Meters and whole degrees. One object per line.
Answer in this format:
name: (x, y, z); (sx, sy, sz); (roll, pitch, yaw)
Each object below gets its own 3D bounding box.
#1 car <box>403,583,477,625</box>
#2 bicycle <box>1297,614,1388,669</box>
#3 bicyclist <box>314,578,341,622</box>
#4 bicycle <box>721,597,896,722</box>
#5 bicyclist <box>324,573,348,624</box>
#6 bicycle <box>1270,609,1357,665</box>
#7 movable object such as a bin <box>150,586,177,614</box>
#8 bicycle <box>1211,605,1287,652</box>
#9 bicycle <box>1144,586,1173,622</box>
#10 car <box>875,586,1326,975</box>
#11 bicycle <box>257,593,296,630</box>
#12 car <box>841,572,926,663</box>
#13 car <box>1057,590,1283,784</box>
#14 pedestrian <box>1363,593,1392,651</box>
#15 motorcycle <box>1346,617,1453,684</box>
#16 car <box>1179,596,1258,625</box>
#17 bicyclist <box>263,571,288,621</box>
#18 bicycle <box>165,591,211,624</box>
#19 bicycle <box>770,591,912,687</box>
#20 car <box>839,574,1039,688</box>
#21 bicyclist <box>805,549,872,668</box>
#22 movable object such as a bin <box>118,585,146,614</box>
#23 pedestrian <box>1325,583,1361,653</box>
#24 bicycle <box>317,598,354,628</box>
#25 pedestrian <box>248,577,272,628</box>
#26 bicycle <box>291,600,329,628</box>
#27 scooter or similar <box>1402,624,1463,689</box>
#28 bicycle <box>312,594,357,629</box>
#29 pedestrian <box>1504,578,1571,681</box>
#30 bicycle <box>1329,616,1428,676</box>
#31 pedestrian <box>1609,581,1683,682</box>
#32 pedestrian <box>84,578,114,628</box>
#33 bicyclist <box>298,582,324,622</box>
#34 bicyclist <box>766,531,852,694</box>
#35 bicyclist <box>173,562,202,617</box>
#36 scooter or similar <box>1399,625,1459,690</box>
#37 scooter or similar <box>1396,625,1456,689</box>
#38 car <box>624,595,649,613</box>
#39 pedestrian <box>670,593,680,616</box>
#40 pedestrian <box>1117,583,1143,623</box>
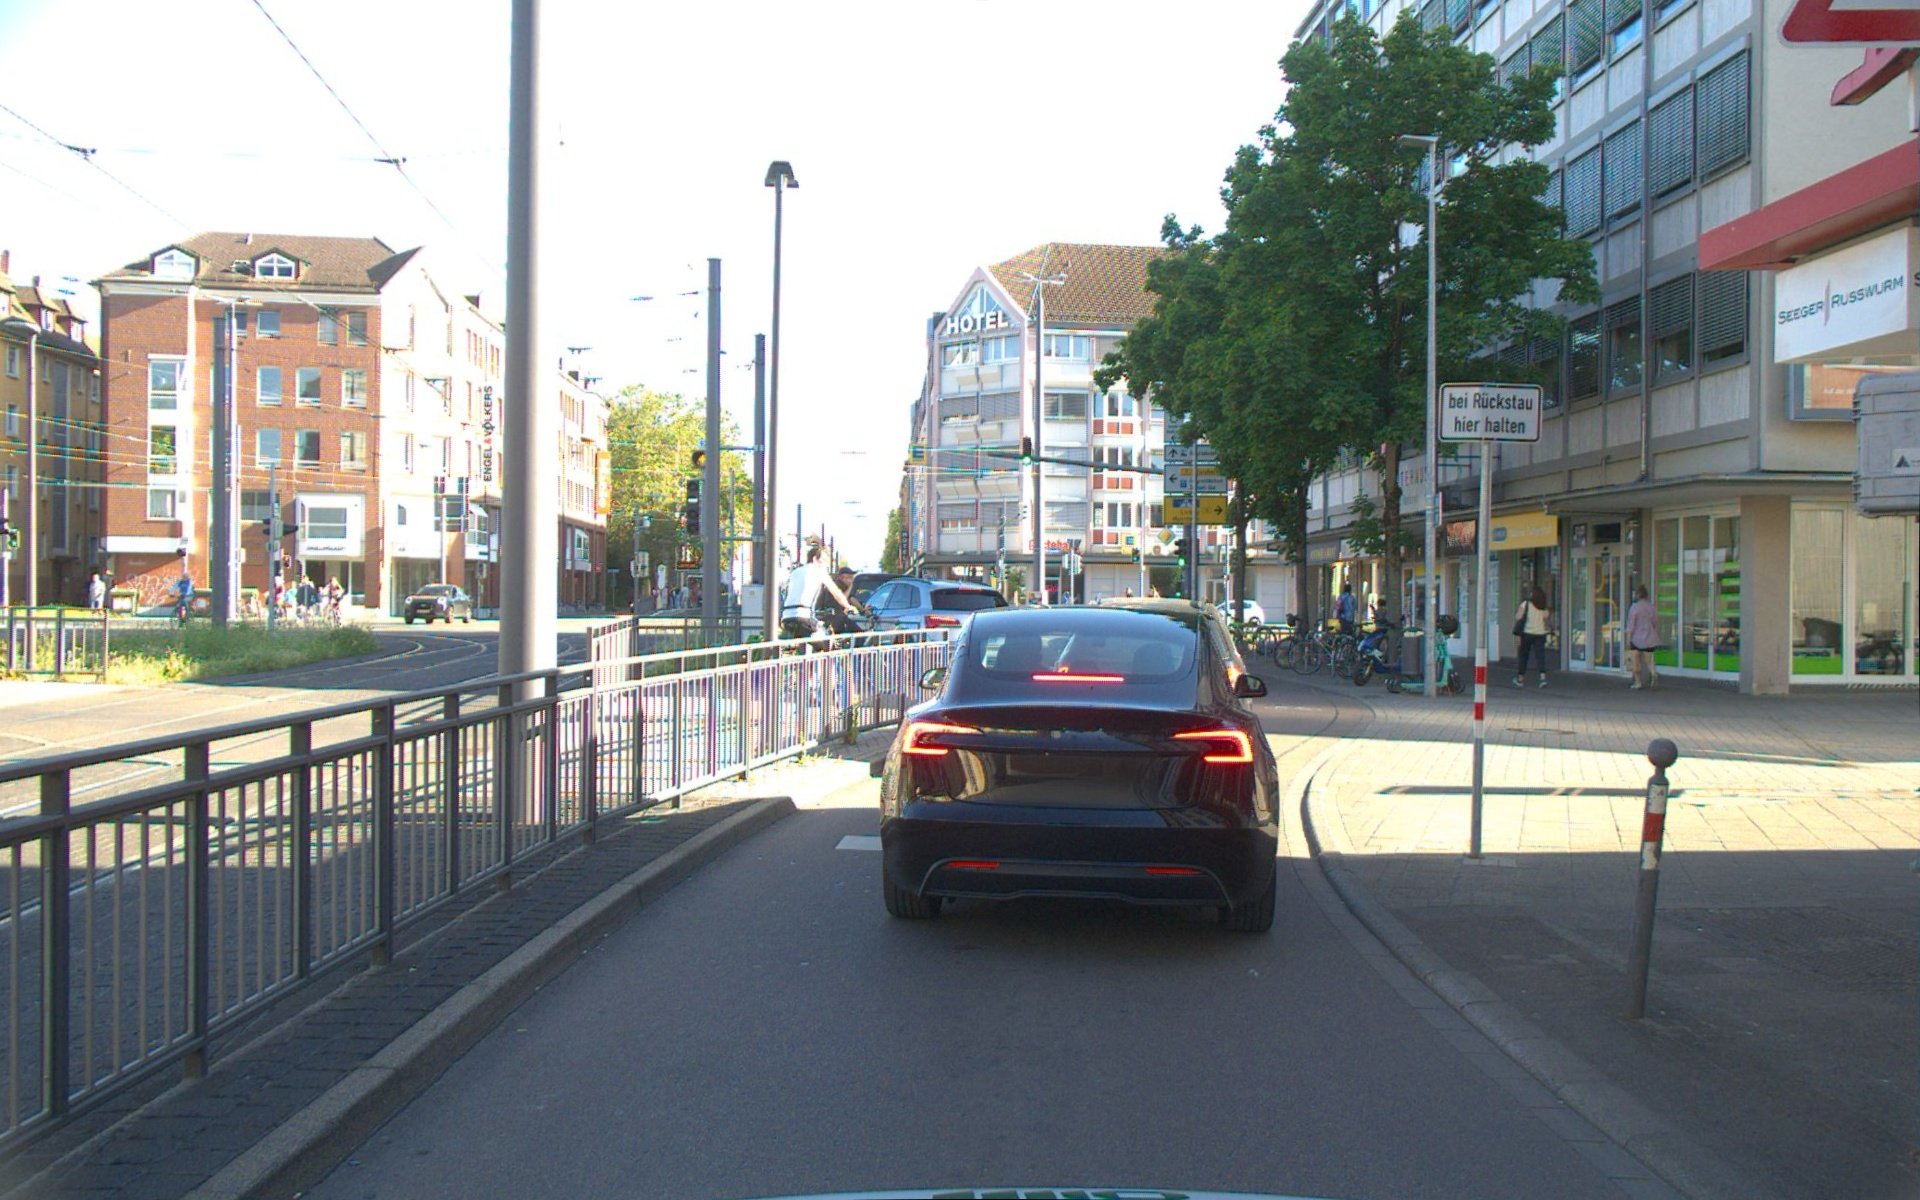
car: (-20.521, 0.150, 65.460); (1.650, 1.588, 4.121); (1, 0, -1)
bicycle: (7.732, 0.828, 33.435); (1.730, 1.075, 0.458); (1, -1, 4)
bicyclist: (-24.342, 0.016, 63.692); (0.576, 1.678, 0.807); (1, -1, 16)
bicycle: (-1.569, 0.607, 17.290); (1.808, 1.233, 0.574); (1, -1, -40)
bicyclist: (-21.453, -0.051, 56.870); (0.514, 1.702, 0.770); (1, -1, 1)
bicycle: (7.562, 0.789, 35.412); (1.774, 1.172, 0.435); (0, 0, -5)
movable object such as a bin: (-41.508, -0.003, 86.184); (0.978, 1.462, 1.093); (1, 0, -10)
bicycle: (7.438, 0.732, 42.527); (1.851, 1.177, 0.480); (-1, -1, 0)
bicycle: (8.182, 0.150, 68.183); (0.573, 1.489, 1.679); (0, 0, -16)
car: (0.687, 0.692, 8.503); (1.753, 1.476, 3.942); (1, 1, 4)
bicycle: (-23.422, 0.406, 56.696); (0.519, 1.235, 1.885); (1, 0, 1)
car: (-1.494, 0.328, 32.286); (1.541, 1.646, 3.781); (1, 0, -3)
car: (1.790, 0.661, 15.159); (1.727, 1.469, 4.531); (1, 0, 4)
pedestrian: (10.635, 0.554, 42.143); (0.631, 1.447, 0.621); (1, -1, 9)
motorcycle: (7.782, 0.886, 29.320); (1.751, 1.149, 0.504); (1, -1, -3)
car: (13.499, 0.566, 86.619); (3.766, 1.457, 1.801); (1, -2, -6)
bicyclist: (-23.417, -0.136, 56.566); (0.510, 1.702, 0.770); (1, -1, 0)
bicycle: (-24.267, 0.239, 52.009); (0.519, 1.031, 1.885); (1, 0, 1)
bicycle: (-1.583, 0.520, 22.161); (1.802, 1.233, 0.635); (1, -1, -32)
car: (-0.396, 0.458, 26.195); (1.818, 1.663, 3.455); (1, 0, -27)
bicyclist: (-1.628, 0.116, 22.135); (0.674, 1.550, 0.628); (1, -1, -32)
movable object such as a bin: (-42.999, -0.022, 85.866); (0.978, 1.462, 1.093); (1, 0, -10)
pedestrian: (9.761, 0.449, 42.151); (0.825, 1.751, 0.881); (1, -1, 10)
bicycle: (-21.460, 0.441, 56.864); (0.519, 1.031, 1.897); (1, 0, 1)
pedestrian: (-28.436, 0.094, 67.214); (0.582, 2.049, 0.830); (1, -1, 2)
bicycle: (-24.312, 0.513, 61.900); (0.636, 1.031, 1.885); (1, 0, 1)
scooter or similar: (7.714, 0.923, 27.001); (0.943, 1.061, 0.160); (0, 0, 2)
bicycle: (-24.234, 0.444, 64.109); (0.561, 1.313, 2.028); (1, 0, 15)
pedestrian: (9.927, 0.497, 28.448); (0.826, 1.737, 0.880); (1, -1, -1)
bicycle: (7.943, 0.867, 31.402); (1.817, 1.074, 0.398); (-1, 0, -12)
pedestrian: (11.328, 0.511, 27.333); (0.826, 1.630, 0.880); (1, -1, -1)
pedestrian: (-30.492, 0.108, 58.590); (0.611, 1.717, 0.706); (2, 1, 17)
bicyclist: (-24.299, 0.090, 61.922); (0.650, 1.479, 0.730); (1, -1, 0)
bicyclist: (-1.578, 0.128, 17.282); (0.676, 1.659, 0.570); (1, -1, -39)
bicyclist: (-24.259, -0.316, 51.959); (0.510, 1.702, 0.770); (1, -1, 0)
scooter or similar: (7.718, 0.936, 27.199); (0.936, 1.057, 0.160); (0, 0, 2)
scooter or similar: (7.723, 0.947, 27.399); (0.943, 1.045, 0.160); (0, 0, 2)
car: (-26.610, 0.334, 136.112); (1.783, 1.479, 3.971); (-1, 0, -7)
pedestrian: (-18.751, 0.292, 108.843); (0.574, 1.557, 0.634); (1, -1, -18)
pedestrian: (7.012, 0.125, 68.128); (0.766, 1.604, 0.864); (1, 1, -16)
